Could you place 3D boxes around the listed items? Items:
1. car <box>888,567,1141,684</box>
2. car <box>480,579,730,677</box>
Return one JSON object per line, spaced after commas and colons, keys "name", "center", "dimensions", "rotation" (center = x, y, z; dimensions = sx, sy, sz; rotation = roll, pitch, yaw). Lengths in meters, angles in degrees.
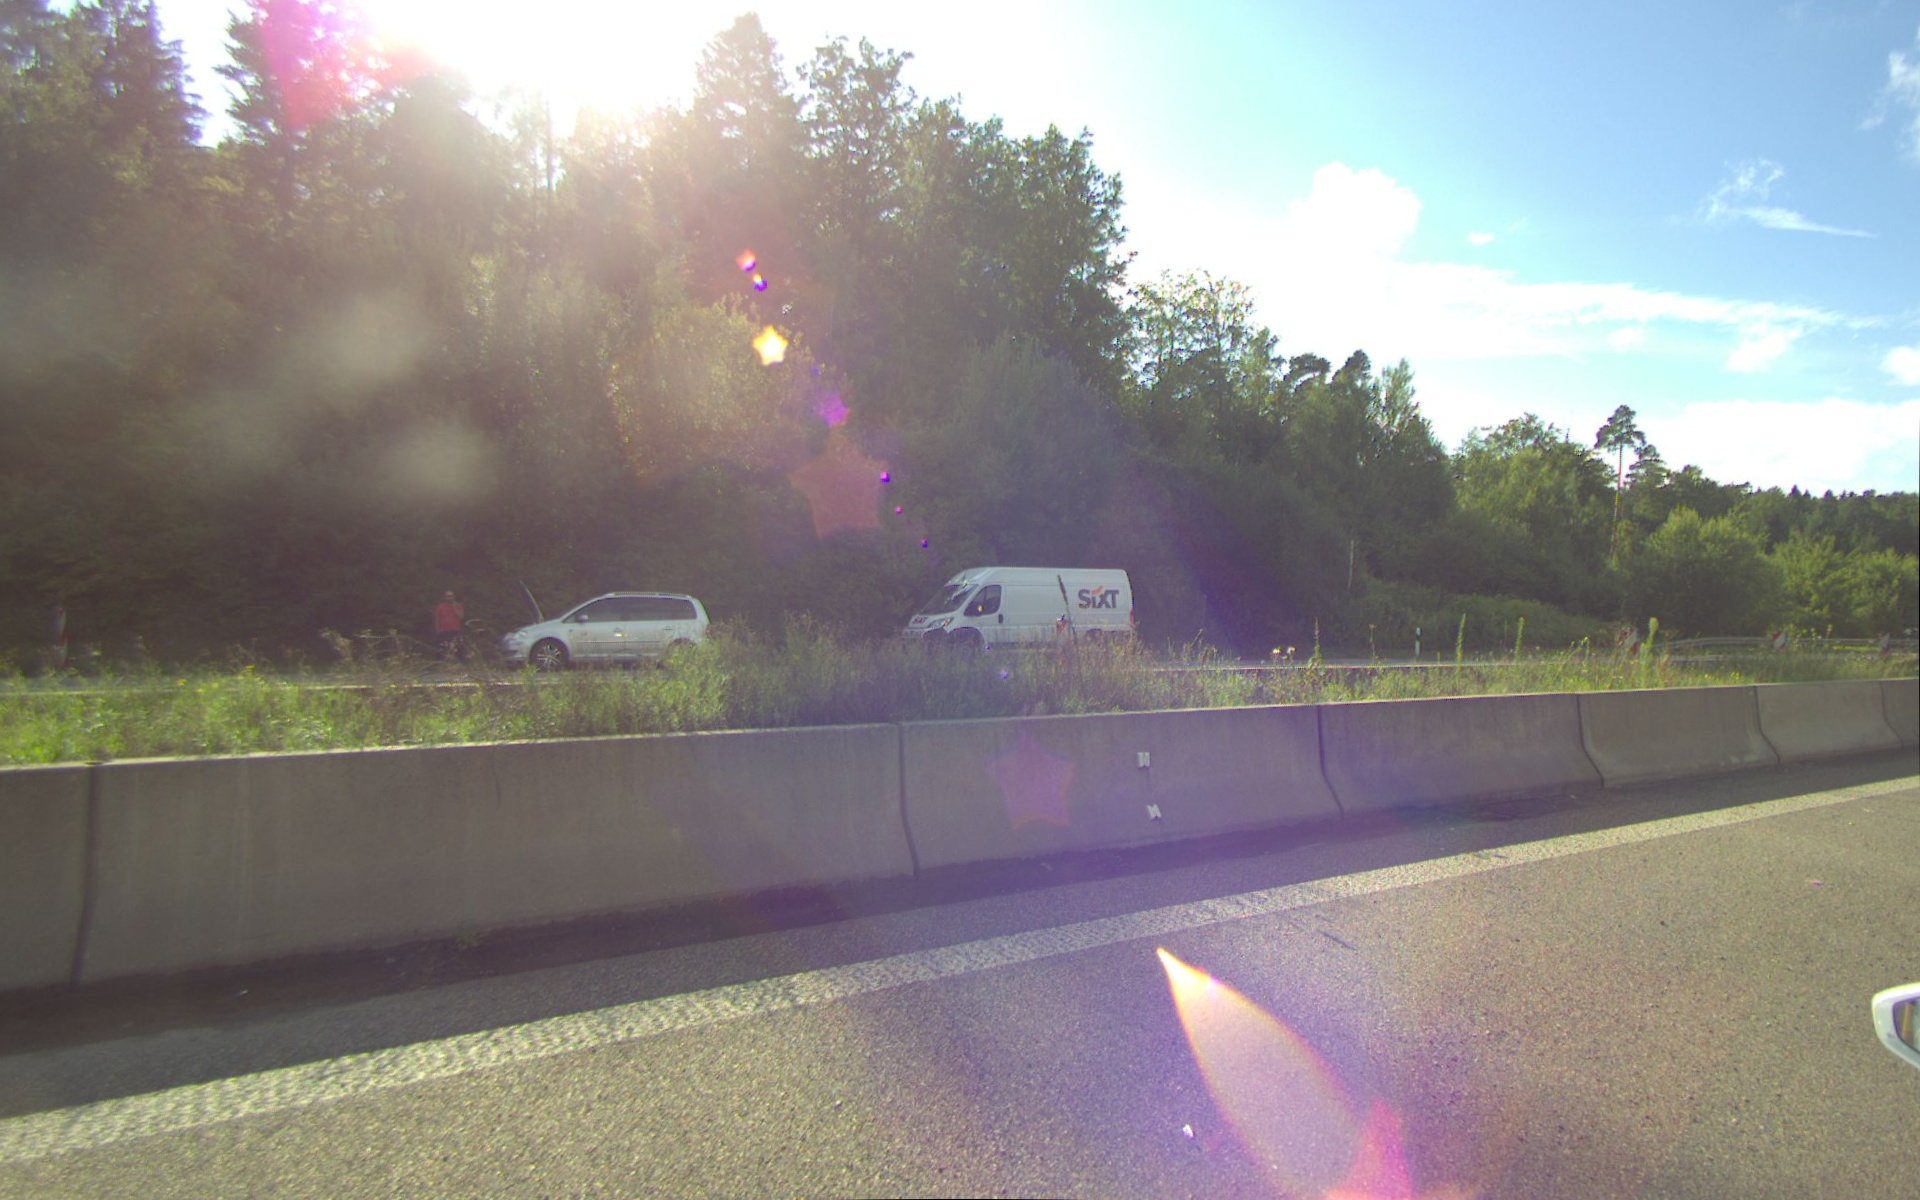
{"name": "car", "center": [1.509, 0.672, 25.879], "dimensions": [6.447, 2.720, 2.018], "rotation": [2, 0, -31]}
{"name": "car", "center": [-7.447, 0.601, 21.211], "dimensions": [4.706, 1.878, 1.851], "rotation": [2, 0, -31]}
